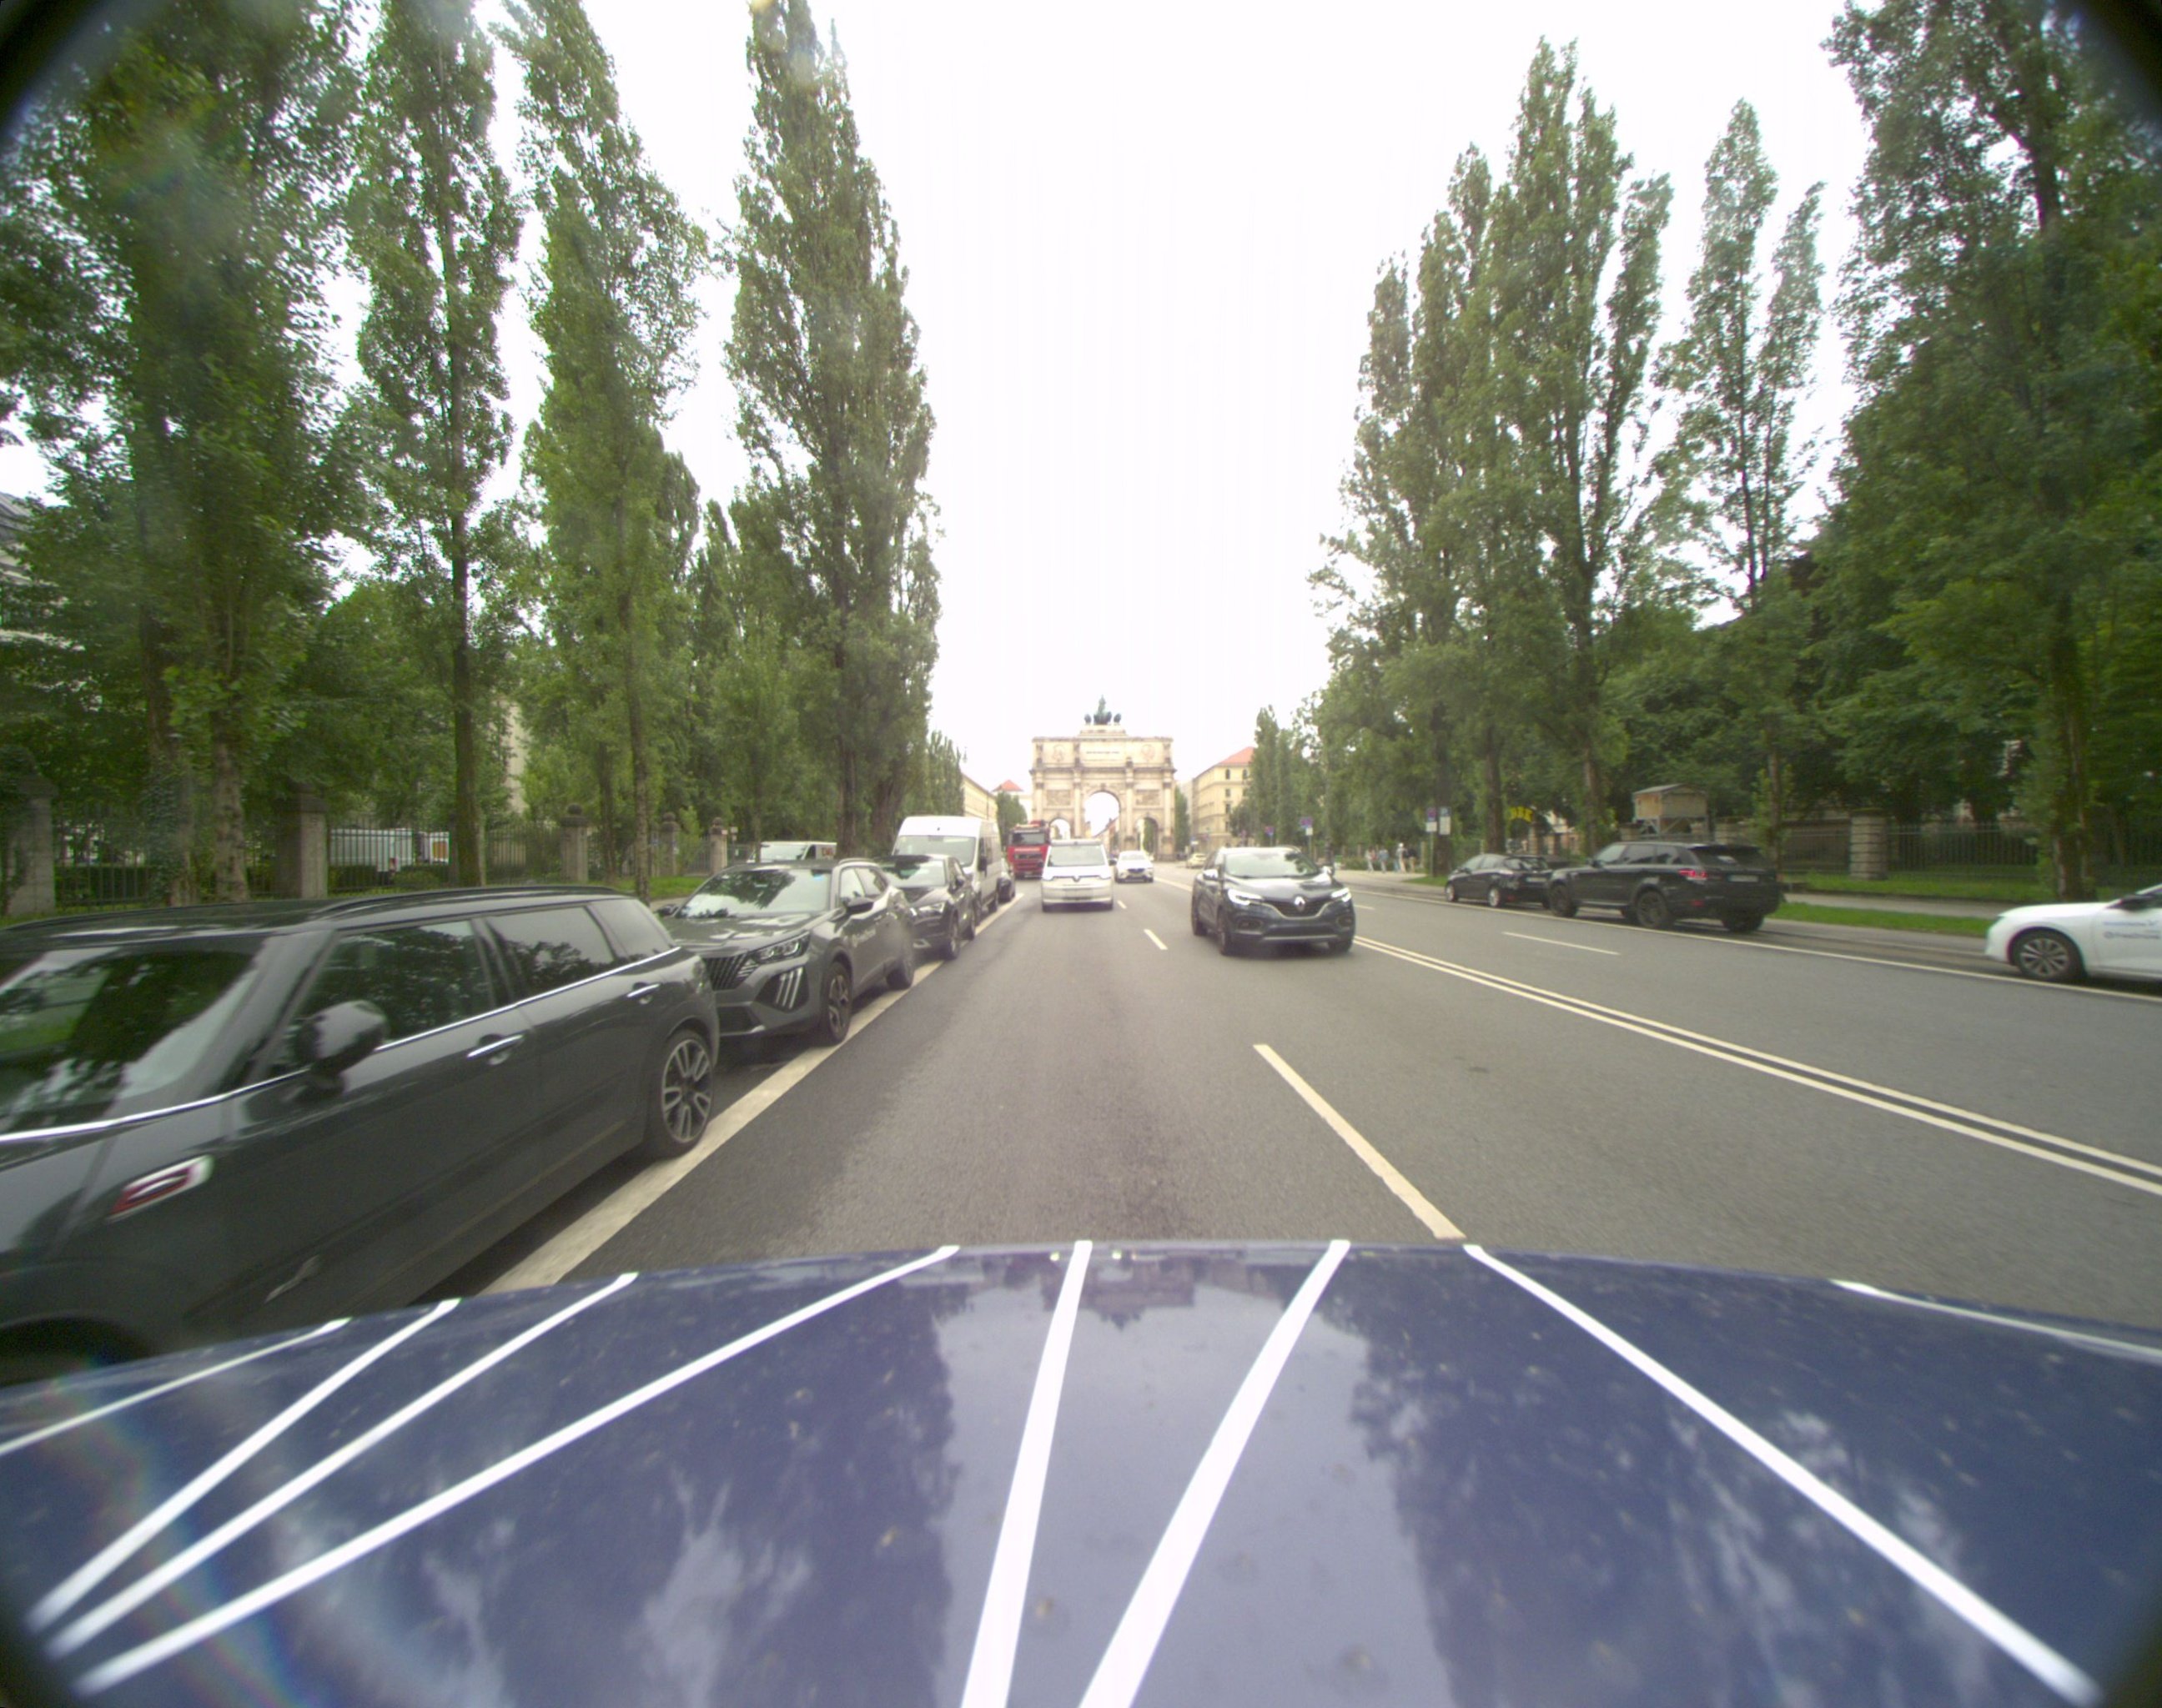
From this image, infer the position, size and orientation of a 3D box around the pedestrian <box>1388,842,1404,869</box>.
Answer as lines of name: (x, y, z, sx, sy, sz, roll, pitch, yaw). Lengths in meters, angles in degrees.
pedestrian: (19.890, 0.099, 47.963, 0.661, 1.706, 0.911, 0, 1, -1)

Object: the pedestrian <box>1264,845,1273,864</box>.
pedestrian: (17.711, 0.043, 71.773, 0.533, 1.720, 0.583, -1, 1, -11)

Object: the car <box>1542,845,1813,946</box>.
car: (12.276, 0.731, 16.189, 2.051, 1.776, 4.799, 2, 1, 2)

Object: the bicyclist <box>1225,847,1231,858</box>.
bicyclist: (20.257, -0.205, 104.437, 0.647, 1.583, 0.661, -2, 1, -2)

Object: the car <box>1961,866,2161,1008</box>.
car: (12.244, 0.920, 7.662, 1.708, 1.450, 4.272, 2, 0, -1)

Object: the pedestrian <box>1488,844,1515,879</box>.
pedestrian: (18.952, 0.317, 34.227, 0.720, 1.540, 0.875, -1, 1, -1)

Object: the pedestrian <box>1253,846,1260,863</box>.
pedestrian: (17.708, 0.022, 76.603, 0.533, 1.720, 0.583, -1, 1, -11)

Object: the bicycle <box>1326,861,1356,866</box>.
bicycle: (22.764, 0.818, 66.553, 2.219, 0.450, 1.339, -1, -1, -23)

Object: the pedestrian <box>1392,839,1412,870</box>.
pedestrian: (19.247, 0.025, 45.602, 0.711, 1.823, 1.092, -1, 1, -1)

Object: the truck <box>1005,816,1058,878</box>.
truck: (-3.039, -0.403, 49.178, 2.852, 3.543, 10.277, -1, 0, -1)

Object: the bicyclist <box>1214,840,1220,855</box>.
bicyclist: (16.733, -0.832, 93.642, 0.591, 1.813, 0.661, -2, 1, -2)

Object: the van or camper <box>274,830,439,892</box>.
van or camper: (-32.445, 0.302, 34.152, 5.223, 2.690, 2.249, 0, 1, 0)

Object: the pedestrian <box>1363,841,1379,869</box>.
pedestrian: (18.226, 0.061, 47.748, 0.631, 1.737, 0.908, 0, 1, -1)

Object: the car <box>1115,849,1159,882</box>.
car: (2.750, 0.547, 37.898, 1.910, 1.516, 4.009, -1, 0, 0)

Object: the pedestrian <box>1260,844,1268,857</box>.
pedestrian: (26.987, -0.528, 112.153, 0.990, 1.860, 1.031, -2, 1, 10)

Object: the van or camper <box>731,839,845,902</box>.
van or camper: (-9.980, 0.526, 26.364, 1.980, 1.922, 5.037, -2, 0, -1)

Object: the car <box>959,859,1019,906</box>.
car: (-3.065, 0.911, 25.972, 1.680, 1.412, 3.999, -1, 0, -2)

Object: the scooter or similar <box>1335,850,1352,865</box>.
scooter or similar: (21.379, 0.302, 61.912, 0.747, 1.171, 1.415, 1, 0, -5)

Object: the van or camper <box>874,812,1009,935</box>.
van or camper: (-3.203, 0.393, 18.957, 2.144, 2.525, 6.416, -1, 0, 0)

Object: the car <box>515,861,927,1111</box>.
car: (-2.868, 0.903, 7.391, 1.788, 1.608, 4.637, -1, 0, 0)

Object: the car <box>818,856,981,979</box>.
car: (-2.776, 0.880, 12.636, 1.789, 1.639, 4.416, -1, 0, -2)

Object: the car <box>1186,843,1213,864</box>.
car: (11.551, -0.067, 74.160, 1.797, 1.331, 4.460, 0, 10, -2)

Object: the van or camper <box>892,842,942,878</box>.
van or camper: (-9.790, 0.352, 45.850, 2.009, 2.002, 4.985, -2, 0, -2)

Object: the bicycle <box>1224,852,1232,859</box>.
bicycle: (20.264, 0.218, 104.549, 0.674, 0.947, 1.913, -2, 0, -1)

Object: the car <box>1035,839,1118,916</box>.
car: (-0.085, 0.582, 22.176, 2.064, 1.916, 5.728, -1, 0, 1)

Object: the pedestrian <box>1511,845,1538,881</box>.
pedestrian: (19.945, 0.415, 34.166, 0.720, 1.595, 0.813, -1, 1, -1)

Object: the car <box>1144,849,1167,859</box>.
car: (14.116, 0.028, 144.326, 2.004, 1.739, 3.989, -1, 0, -40)

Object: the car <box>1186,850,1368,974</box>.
car: (2.859, 0.754, 12.042, 1.840, 1.576, 4.185, -1, 0, 1)

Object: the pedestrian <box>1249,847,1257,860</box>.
pedestrian: (24.765, -0.060, 109.248, 0.958, 1.708, 1.032, -1, 1, 22)

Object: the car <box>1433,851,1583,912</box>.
car: (12.408, 0.721, 22.476, 1.949, 1.574, 4.388, 1, 0, 0)

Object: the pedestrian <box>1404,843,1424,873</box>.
pedestrian: (19.997, 0.236, 45.615, 0.711, 1.762, 1.092, -1, 1, -1)

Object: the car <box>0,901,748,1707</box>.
car: (-2.896, 1.054, 2.497, 1.707, 1.511, 4.294, -1, 0, 0)

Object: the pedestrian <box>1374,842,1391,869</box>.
pedestrian: (19.000, 0.101, 47.925, 0.689, 1.690, 0.885, 0, 1, -1)

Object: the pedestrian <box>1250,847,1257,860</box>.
pedestrian: (23.648, -0.085, 104.234, 0.959, 1.708, 1.031, -2, 1, 12)

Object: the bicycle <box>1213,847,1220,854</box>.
bicycle: (16.749, -0.425, 93.633, 0.470, 0.947, 1.913, -2, 0, -1)
